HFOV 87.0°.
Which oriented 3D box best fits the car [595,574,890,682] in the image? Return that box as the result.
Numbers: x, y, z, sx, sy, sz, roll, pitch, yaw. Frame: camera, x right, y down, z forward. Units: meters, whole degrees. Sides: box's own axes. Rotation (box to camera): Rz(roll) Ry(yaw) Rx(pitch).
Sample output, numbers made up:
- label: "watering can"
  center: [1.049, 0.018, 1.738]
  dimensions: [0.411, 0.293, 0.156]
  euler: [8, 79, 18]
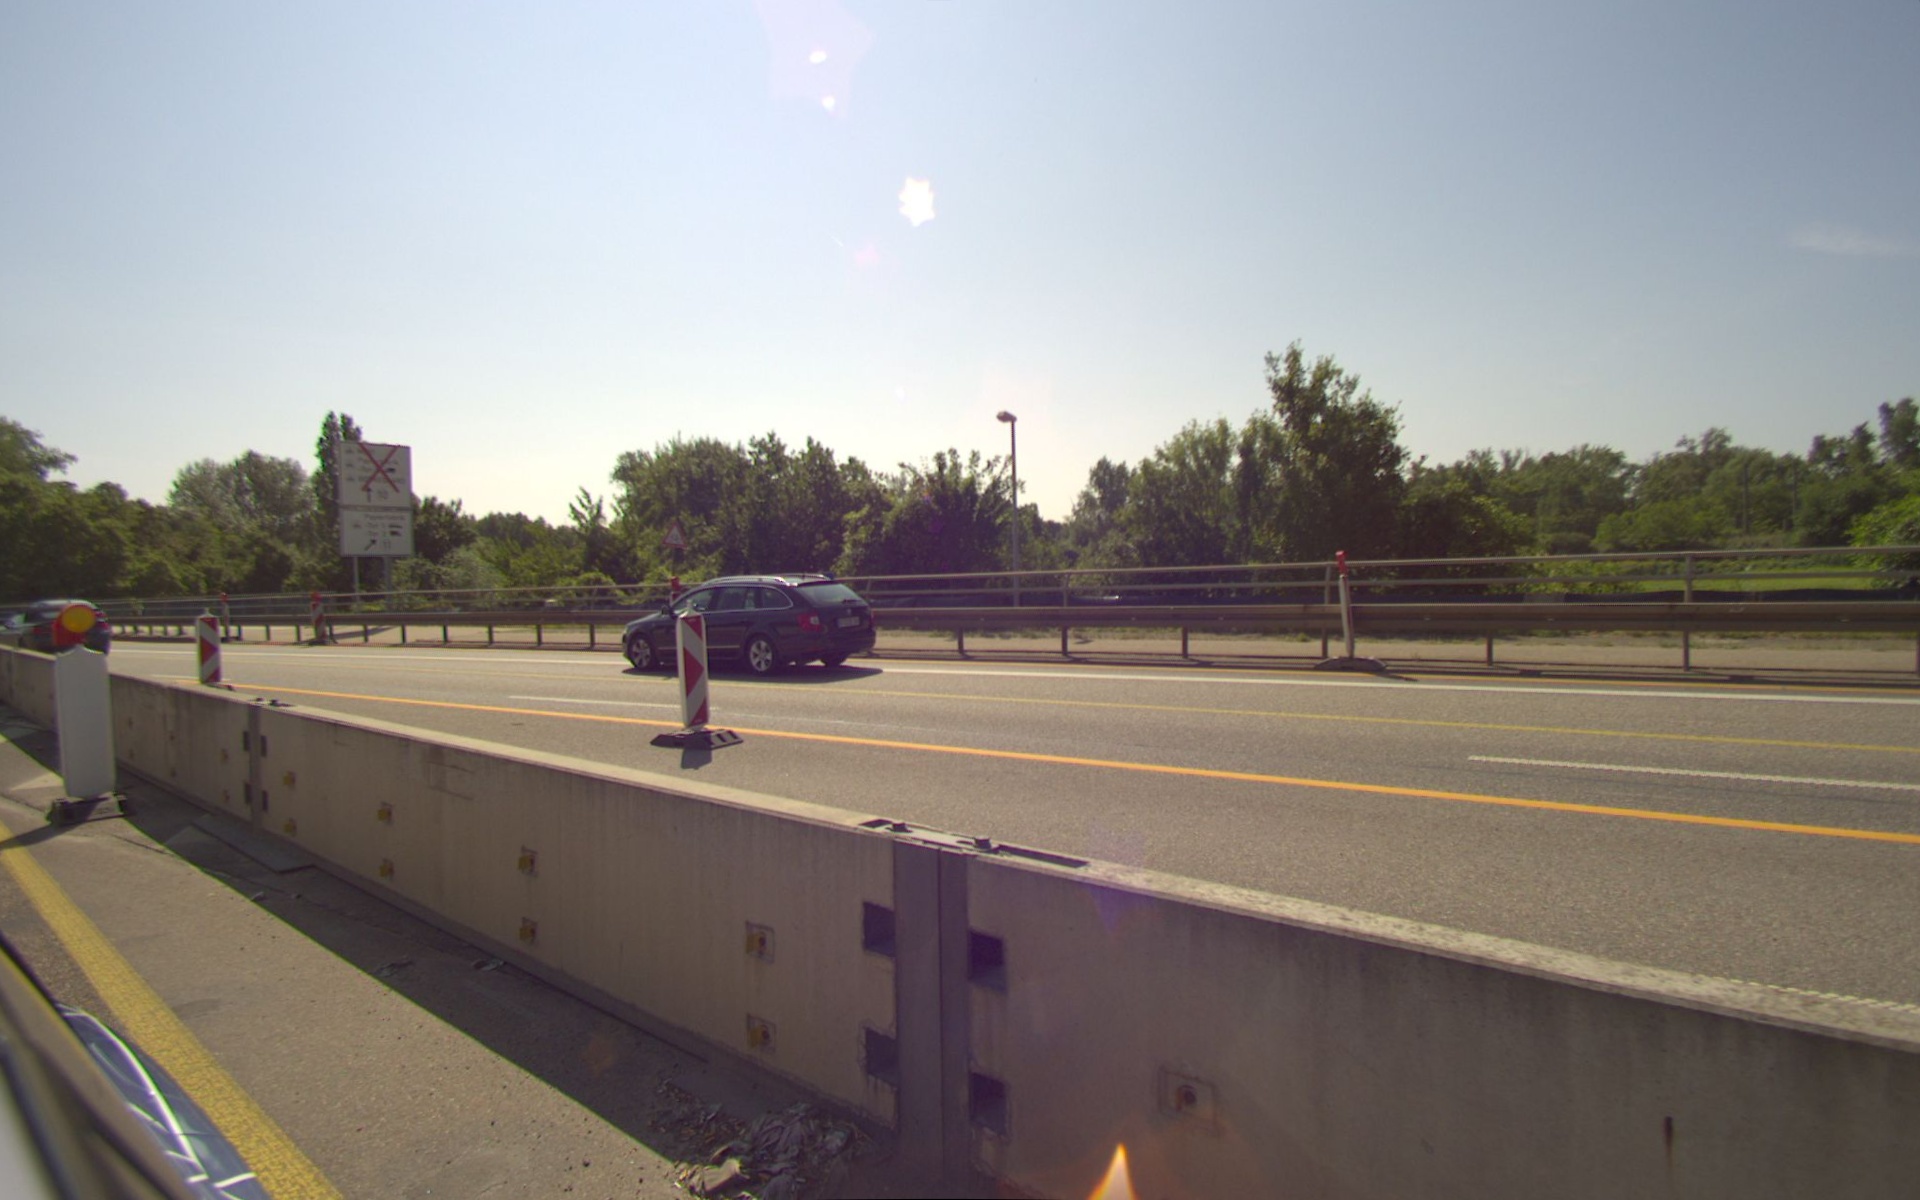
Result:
- label: "car"
  center: [-3.564, 0.391, 16.085]
  dimensions: [4.986, 1.452, 1.653]
  euler: [-1, 2, 36]

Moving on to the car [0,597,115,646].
- label: "car"
  center: [-30.848, 0.714, 34.461]
  dimensions: [4.455, 1.519, 1.918]
  euler: [-1, 2, 33]

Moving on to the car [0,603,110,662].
- label: "car"
  center: [-24.499, 0.827, 27.002]
  dimensions: [4.261, 1.386, 1.675]
  euler: [-1, 2, 34]
